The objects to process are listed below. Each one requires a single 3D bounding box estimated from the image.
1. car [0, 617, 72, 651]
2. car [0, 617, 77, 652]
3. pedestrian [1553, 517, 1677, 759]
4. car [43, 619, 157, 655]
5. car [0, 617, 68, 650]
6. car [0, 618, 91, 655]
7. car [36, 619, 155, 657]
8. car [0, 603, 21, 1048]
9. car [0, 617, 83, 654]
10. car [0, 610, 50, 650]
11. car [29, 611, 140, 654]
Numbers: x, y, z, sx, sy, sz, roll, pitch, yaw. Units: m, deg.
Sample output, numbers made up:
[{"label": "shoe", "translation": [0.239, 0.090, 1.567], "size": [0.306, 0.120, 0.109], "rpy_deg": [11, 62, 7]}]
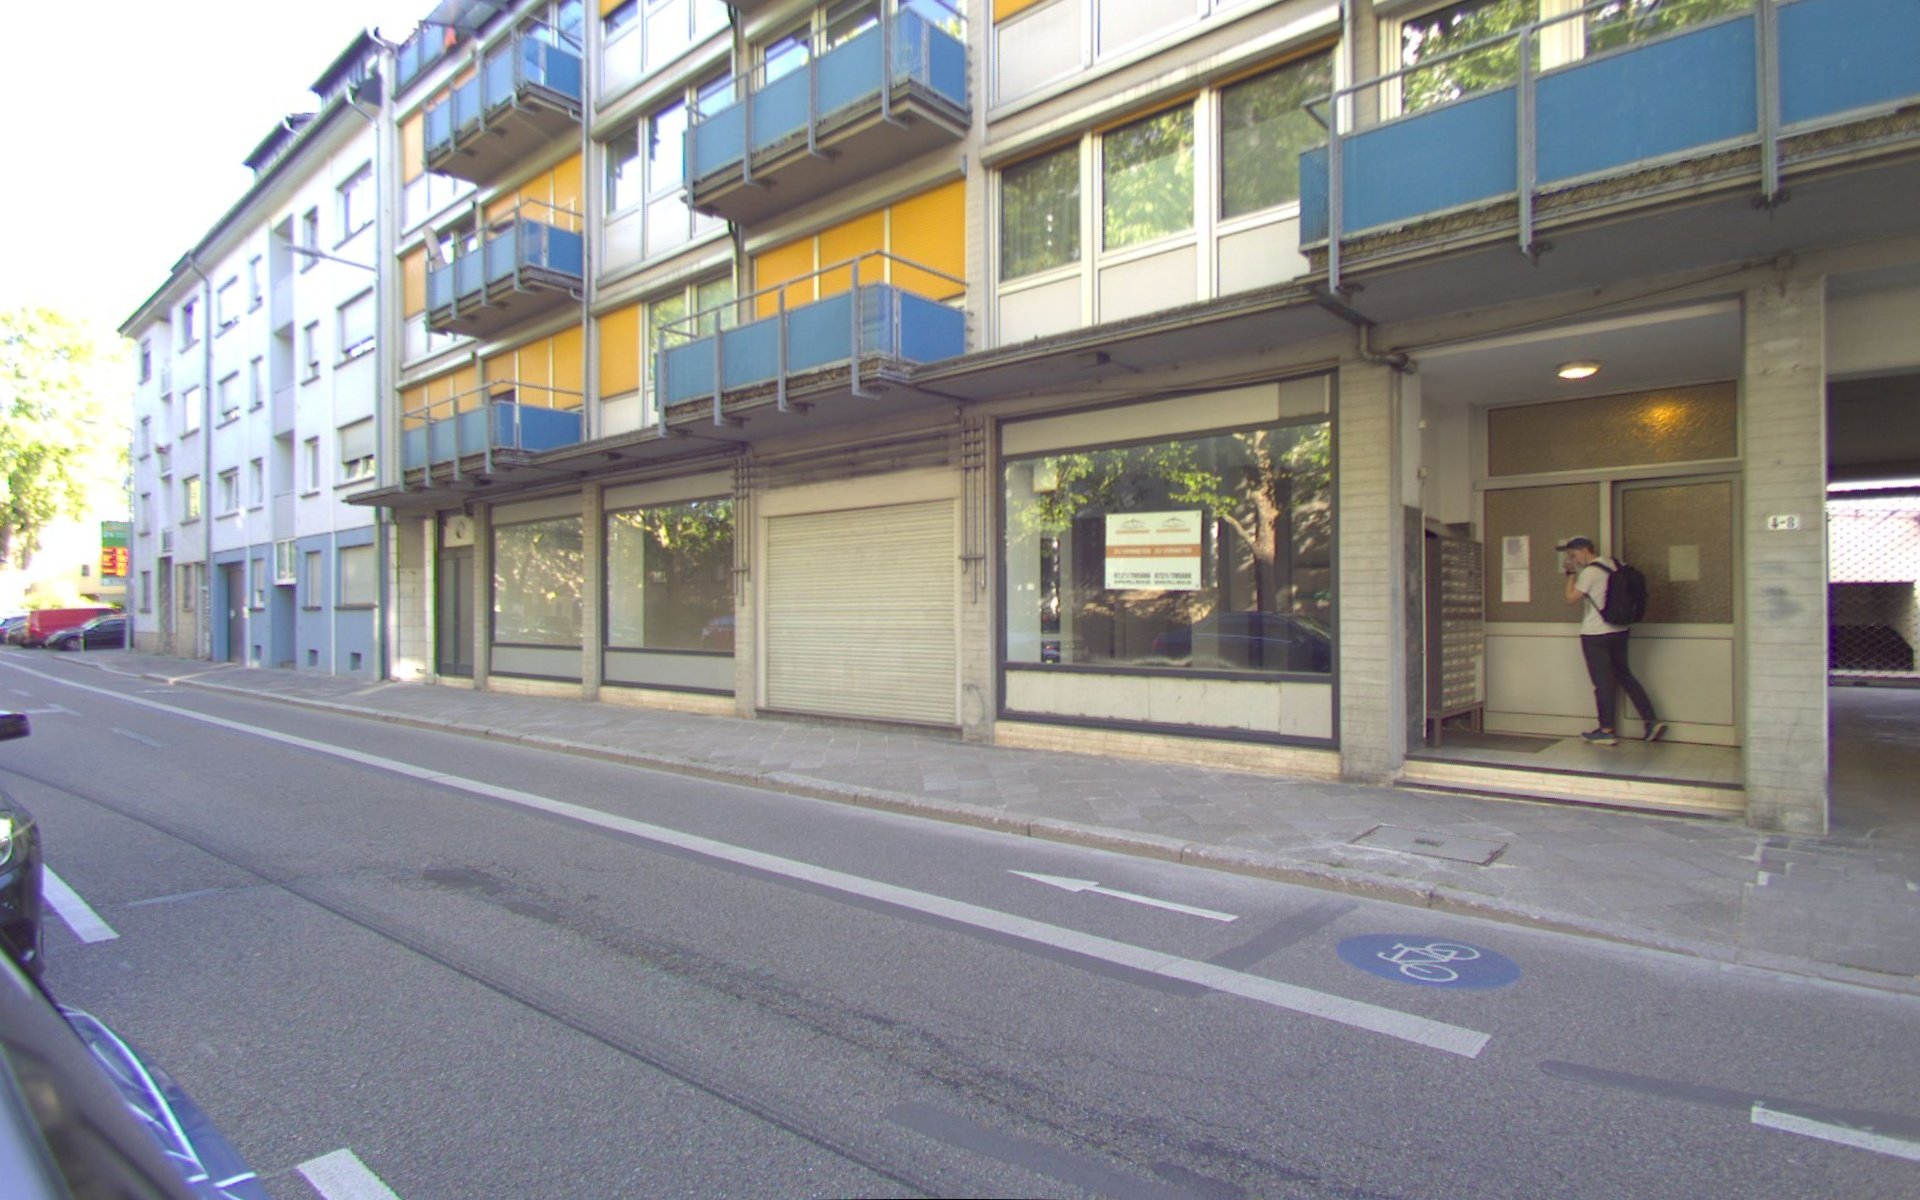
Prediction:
[{"label": "car", "translation": [-57.402, 2.090, 62.279], "size": [2.000, 1.962, 3.944], "rpy_deg": [-1, 0, 42]}, {"label": "car", "translation": [-55.597, 2.066, 60.562], "size": [2.000, 1.962, 3.944], "rpy_deg": [-1, 0, 42]}, {"label": "pedestrian", "translation": [5.440, 0.297, 8.408], "size": [0.786, 1.894, 0.574], "rpy_deg": [-1, 0, 40]}, {"label": "car", "translation": [-41.171, 1.746, 48.522], "size": [2.000, 1.564, 3.944], "rpy_deg": [-1, 0, 42]}, {"label": "car", "translation": [-59.202, 2.113, 64.013], "size": [2.000, 1.962, 3.944], "rpy_deg": [-1, 0, 42]}, {"label": "car", "translation": [-51.566, 2.014, 56.826], "size": [2.000, 1.962, 3.944], "rpy_deg": [-1, 0, 42]}, {"label": "car", "translation": [-39.753, 1.728, 46.601], "size": [2.000, 1.564, 3.944], "rpy_deg": [-1, 0, 42]}, {"label": "car", "translation": [-5.521, 0.808, 4.273], "size": [4.479, 1.512, 1.842], "rpy_deg": [-1, -1, 41]}, {"label": "car", "translation": [-53.516, 2.039, 58.609], "size": [2.000, 1.962, 3.944], "rpy_deg": [-1, 0, 42]}, {"label": "car", "translation": [-62.794, 1.960, 66.782], "size": [2.000, 2.538, 3.944], "rpy_deg": [-1, 0, 42]}, {"label": "car", "translation": [-43.426, 1.576, 50.247], "size": [2.000, 1.962, 3.944], "rpy_deg": [-1, 0, 42]}]
